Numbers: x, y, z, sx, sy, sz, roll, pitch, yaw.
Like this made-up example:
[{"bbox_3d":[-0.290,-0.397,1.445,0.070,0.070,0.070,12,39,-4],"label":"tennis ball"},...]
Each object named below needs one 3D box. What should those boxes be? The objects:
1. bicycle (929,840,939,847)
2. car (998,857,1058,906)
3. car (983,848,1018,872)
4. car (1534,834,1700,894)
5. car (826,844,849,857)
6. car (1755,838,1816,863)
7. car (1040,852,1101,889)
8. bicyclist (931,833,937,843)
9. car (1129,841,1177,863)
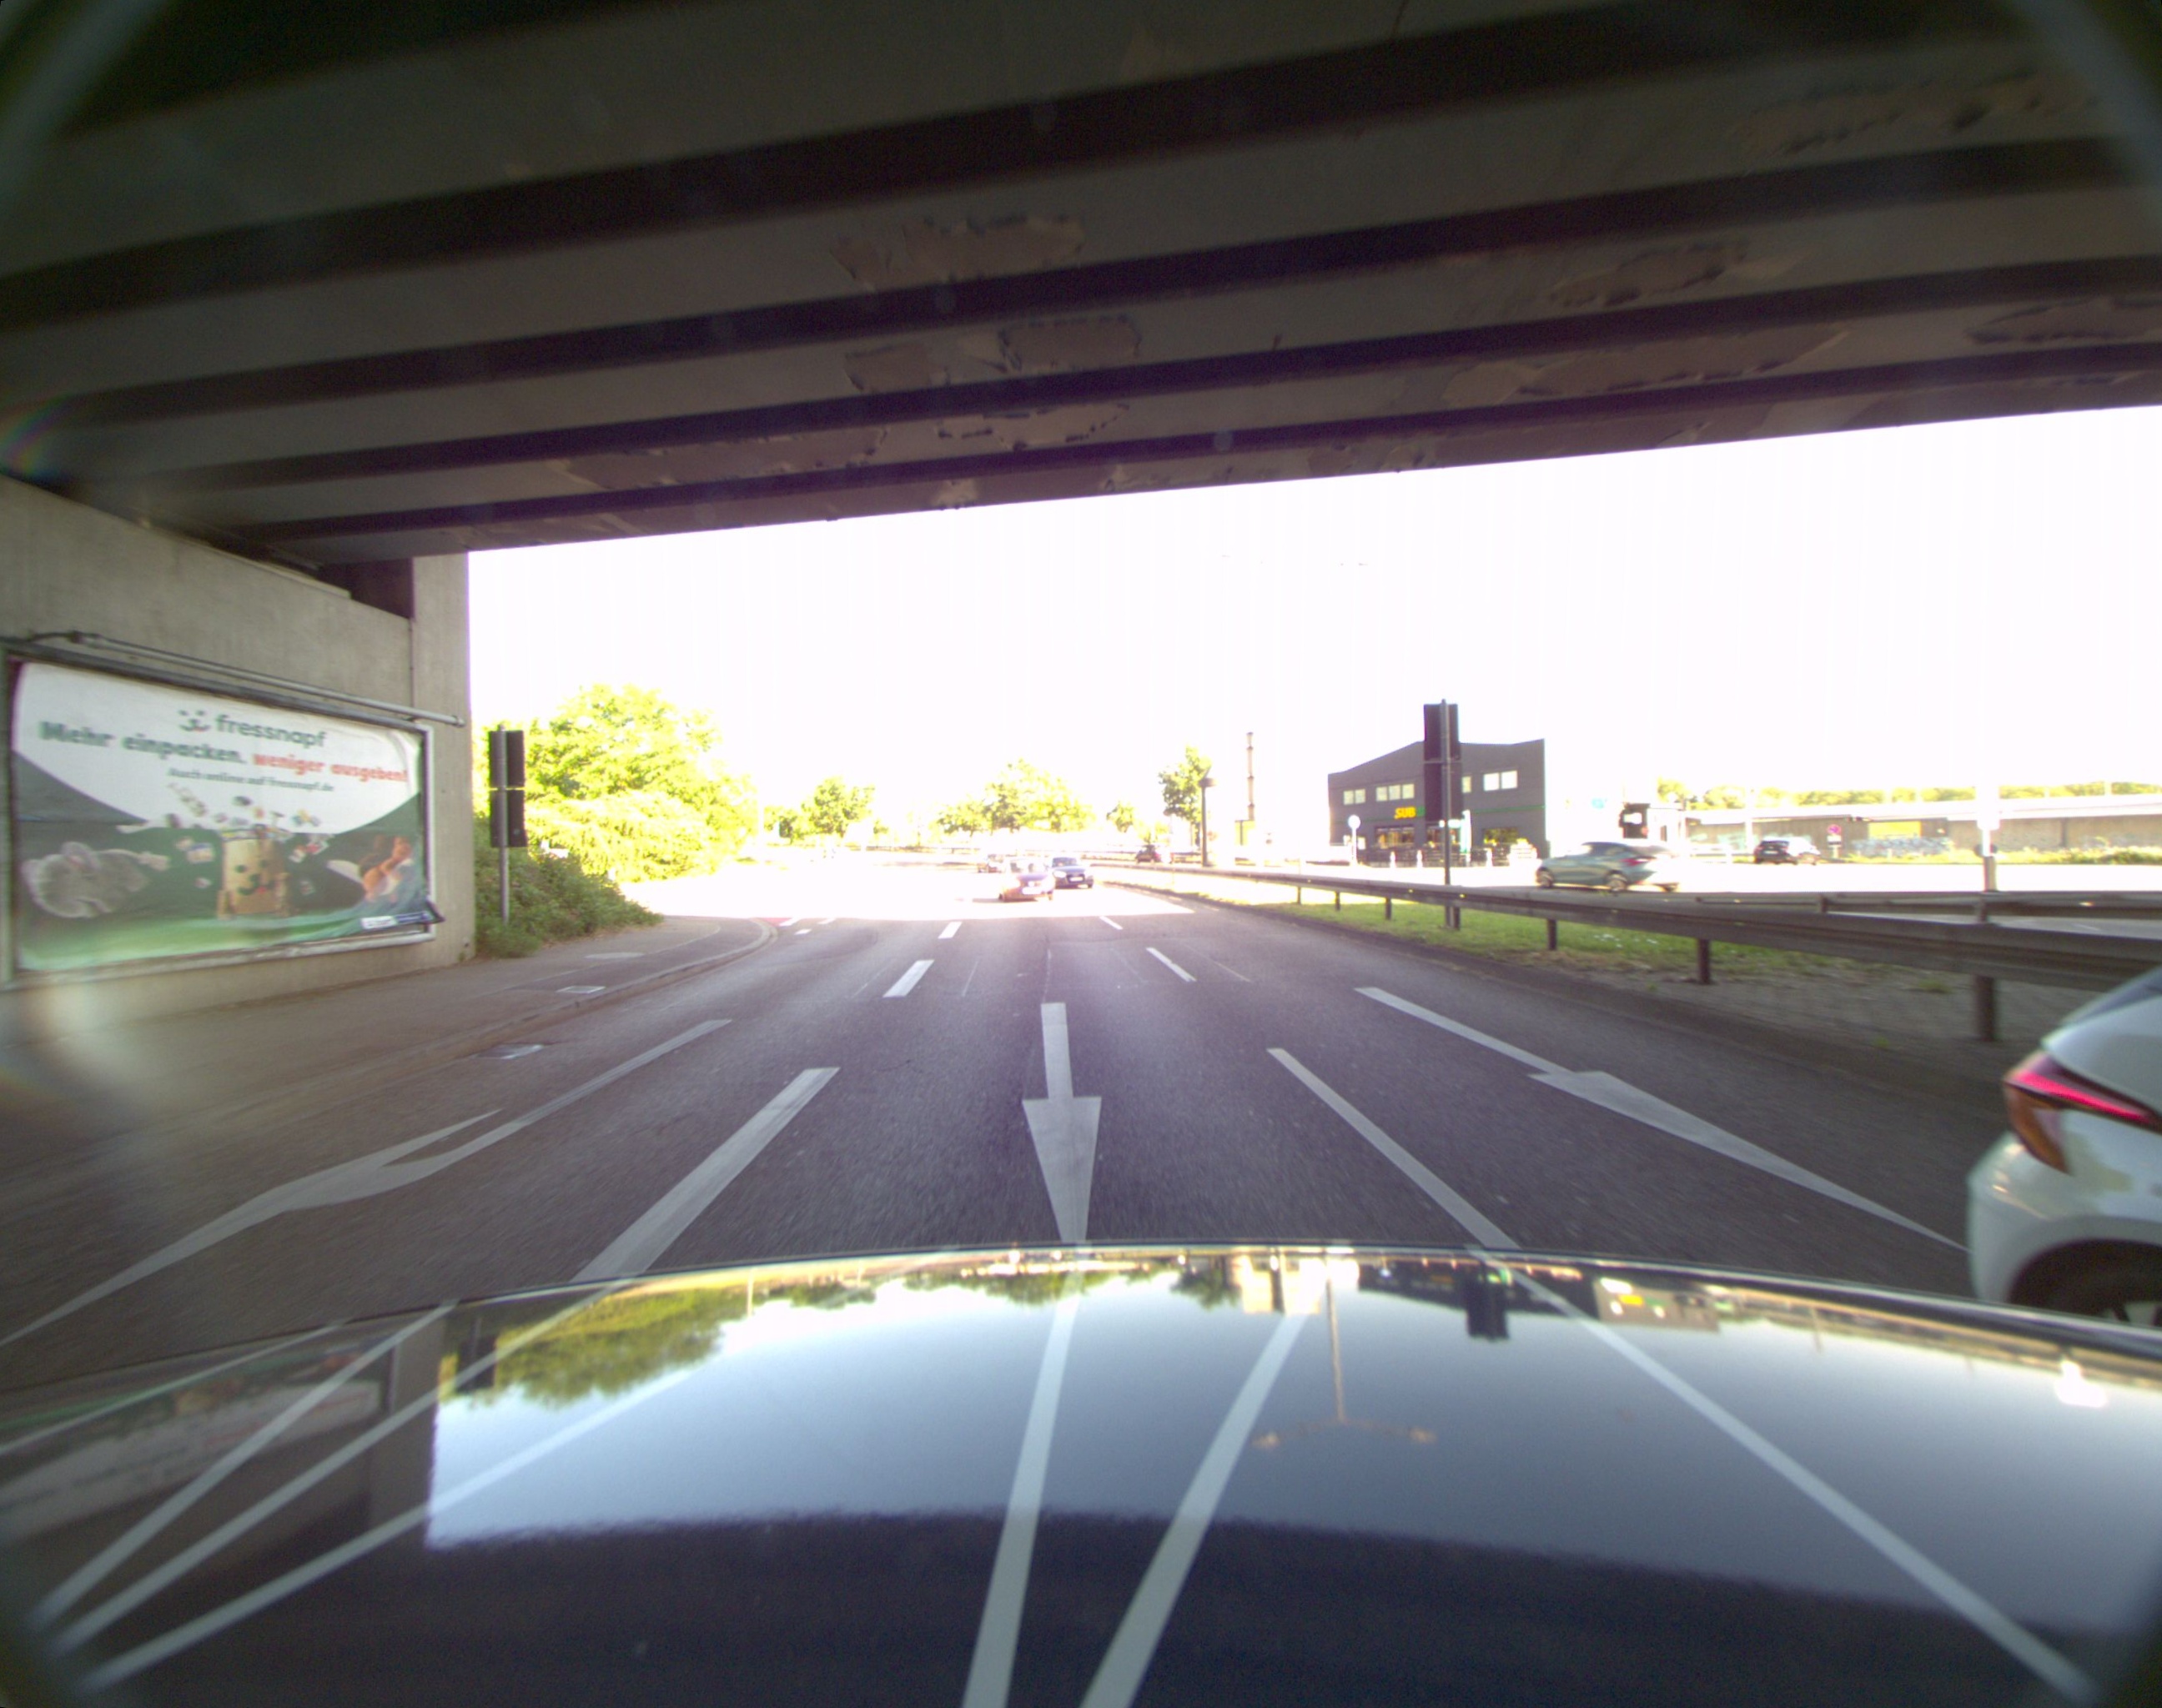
[{"bbox_3d":[-21.811,-1.582,112.559,0.595,1.017,1.745,-4,2,-44],"label":"bicycle"},{"bbox_3d":[-1.860,0.848,25.505,1.738,1.412,4.316,-3,0,-7],"label":"car"},{"bbox_3d":[-5.637,0.386,52.659,1.858,1.471,4.224,-2,1,-13],"label":"car"},{"bbox_3d":[14.786,0.259,21.235,1.624,1.511,3.822,-1,0,-8],"label":"car"},{"bbox_3d":[-29.995,-0.424,93.551,1.853,1.474,3.973,-1,-1,-31],"label":"car"},{"bbox_3d":[38.227,-0.181,41.174,4.191,1.274,1.825,1,1,-39],"label":"car"},{"bbox_3d":[-0.531,0.679,32.915,1.850,1.412,3.976,-1,1,-12],"label":"car"},{"bbox_3d":[-21.798,-2.375,112.504,0.595,1.419,0.707,-4,3,-43],"label":"bicyclist"},{"bbox_3d":[5.340,-0.129,56.848,1.833,1.578,4.174,-1,0,-24],"label":"car"}]
